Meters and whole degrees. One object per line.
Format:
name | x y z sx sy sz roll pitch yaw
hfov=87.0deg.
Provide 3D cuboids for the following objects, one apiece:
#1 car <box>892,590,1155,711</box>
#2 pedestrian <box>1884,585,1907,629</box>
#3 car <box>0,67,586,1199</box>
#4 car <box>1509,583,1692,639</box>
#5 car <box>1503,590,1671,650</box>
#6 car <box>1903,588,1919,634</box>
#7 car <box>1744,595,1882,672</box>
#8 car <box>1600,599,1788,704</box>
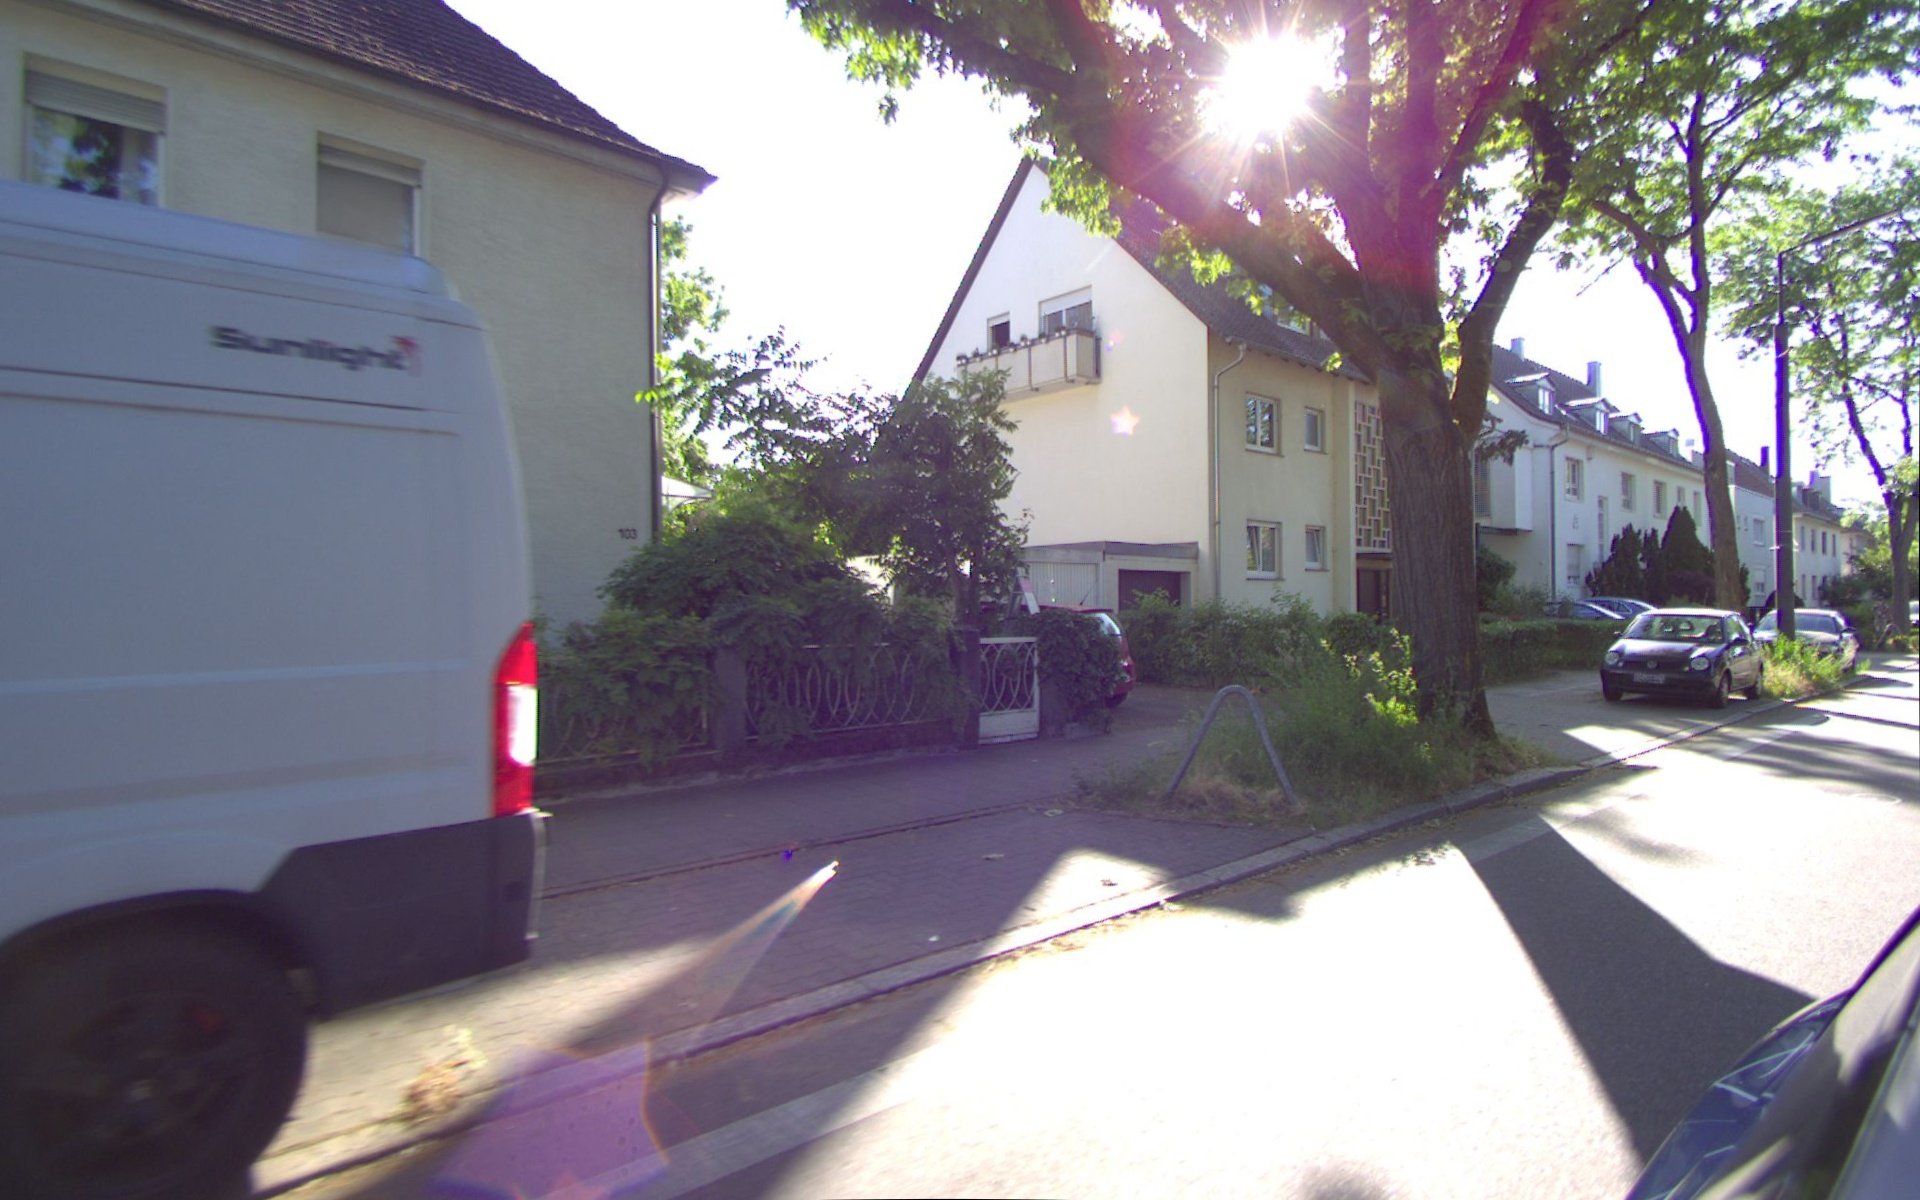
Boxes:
car | 0.865 0.622 14.475 3.389 1.453 1.712 2 1 37
pedestrian | 41.883 0.304 45.323 0.719 1.893 0.626 0 2 -42
car | -3.947 0.143 2.151 5.488 2.687 2.249 0 1 -41
car | 19.847 0.289 31.535 1.824 1.508 4.434 0 2 -38
car | 17.547 0.500 28.421 3.739 1.508 1.712 2 1 44
car | 38.296 0.440 39.311 4.400 1.725 1.997 0 3 -42
car | 19.017 0.670 22.507 4.228 1.466 1.787 0 2 -43
car | 11.746 0.730 16.122 3.582 1.415 1.630 0 2 -41
